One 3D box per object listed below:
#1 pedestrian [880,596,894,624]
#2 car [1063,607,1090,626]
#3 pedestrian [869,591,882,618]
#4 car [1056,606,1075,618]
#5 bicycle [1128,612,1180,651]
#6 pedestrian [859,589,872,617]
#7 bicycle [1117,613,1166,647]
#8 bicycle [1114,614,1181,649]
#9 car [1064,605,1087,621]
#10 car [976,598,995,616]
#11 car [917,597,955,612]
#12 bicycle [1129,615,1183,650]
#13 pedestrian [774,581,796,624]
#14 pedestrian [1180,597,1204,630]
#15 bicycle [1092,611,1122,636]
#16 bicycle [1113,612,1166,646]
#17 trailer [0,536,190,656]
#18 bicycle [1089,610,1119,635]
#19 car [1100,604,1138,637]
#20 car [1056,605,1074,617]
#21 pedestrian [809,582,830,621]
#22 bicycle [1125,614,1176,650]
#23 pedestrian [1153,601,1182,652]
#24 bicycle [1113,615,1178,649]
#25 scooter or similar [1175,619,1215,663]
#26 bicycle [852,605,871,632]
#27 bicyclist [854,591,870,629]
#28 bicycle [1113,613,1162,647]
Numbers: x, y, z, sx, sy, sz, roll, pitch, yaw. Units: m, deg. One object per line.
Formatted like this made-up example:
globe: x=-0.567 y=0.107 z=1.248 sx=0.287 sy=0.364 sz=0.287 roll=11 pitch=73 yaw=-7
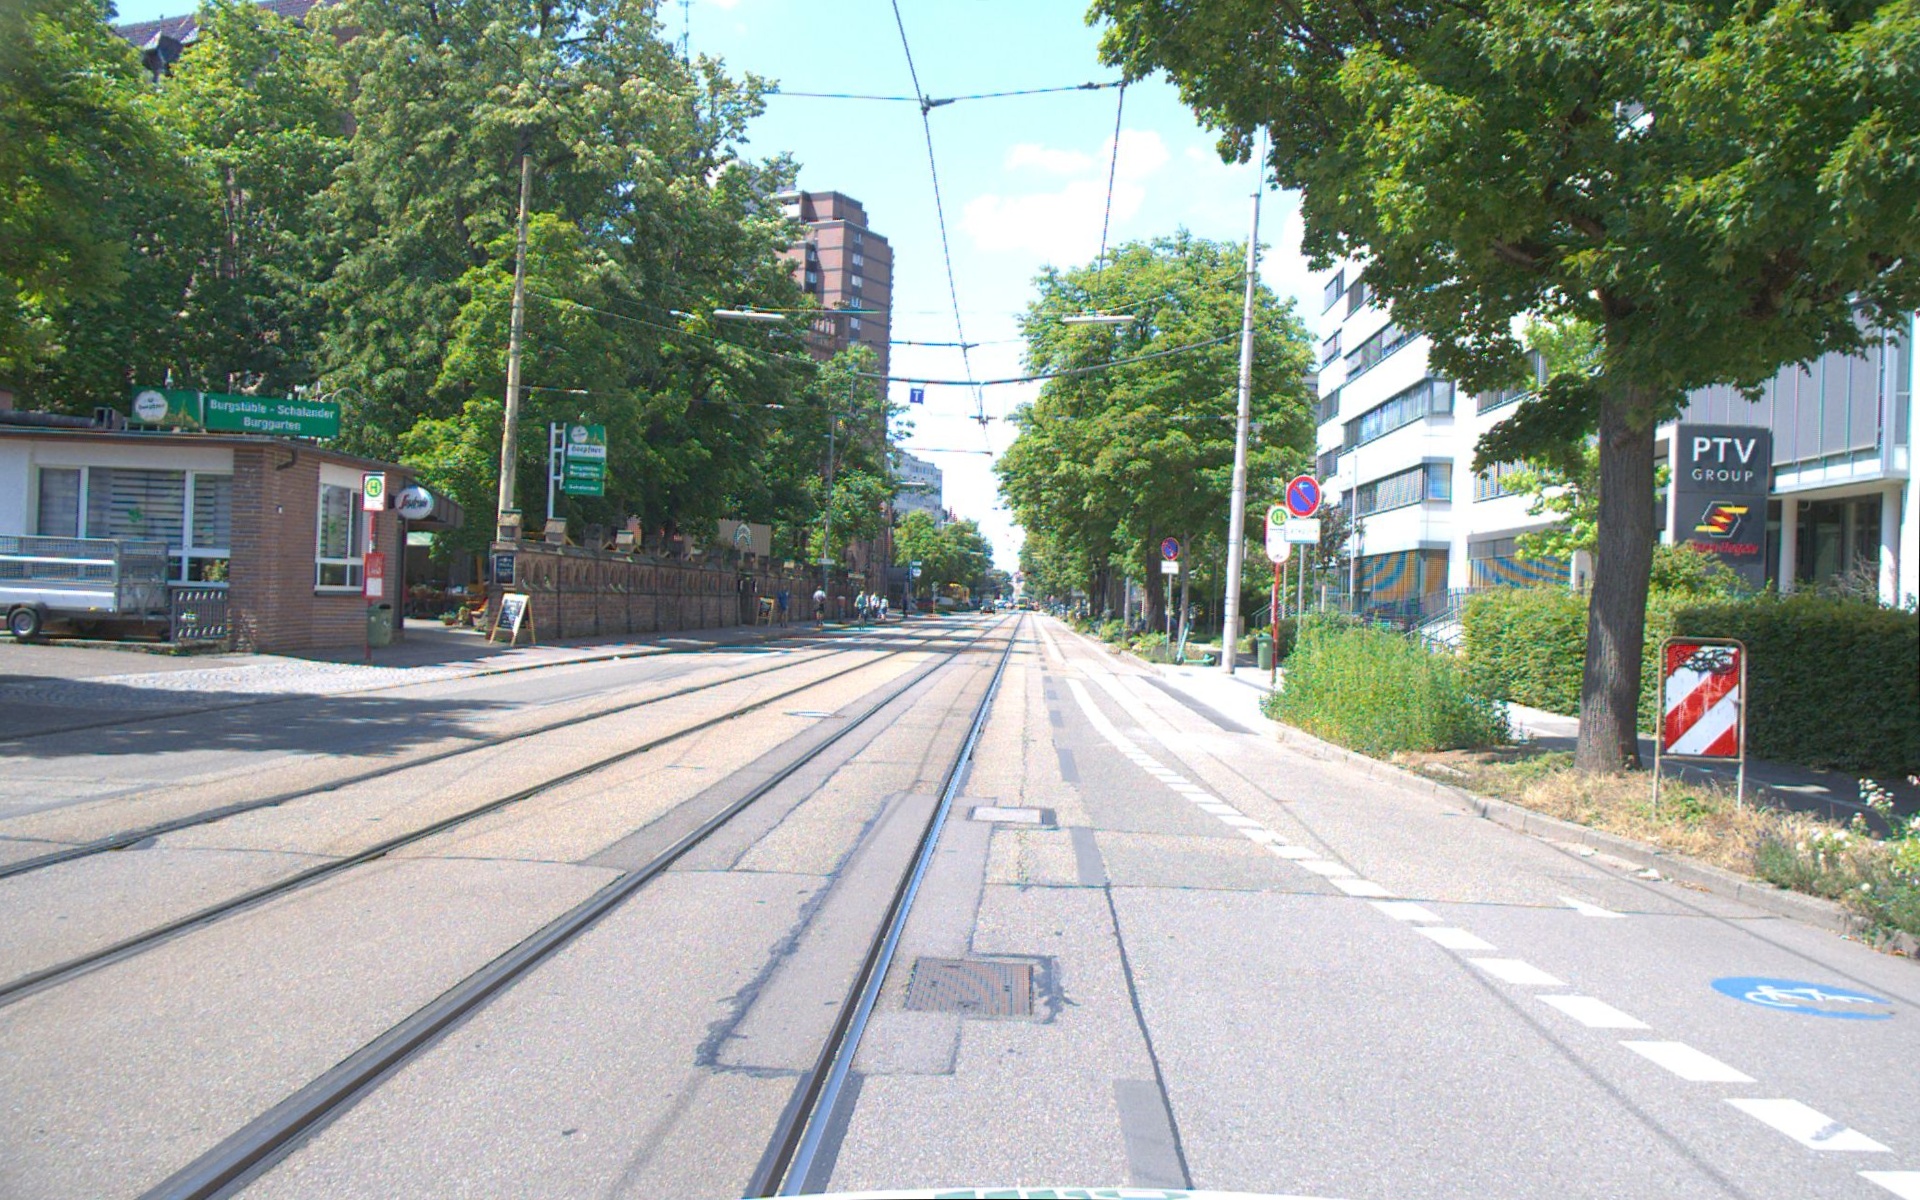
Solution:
pedestrian: x=-4.693 y=0.654 z=106.602 sx=0.728 sy=1.758 sz=0.867 roll=2 pitch=0 yaw=1
car: x=9.109 y=1.285 z=130.042 sx=1.952 sy=1.333 sz=4.001 roll=2 pitch=0 yaw=2
pedestrian: x=-5.485 y=0.301 z=107.314 sx=0.727 sy=1.758 sz=0.867 roll=2 pitch=0 yaw=2
car: x=11.642 y=1.314 z=182.378 sx=1.952 sy=1.333 sz=4.001 roll=2 pitch=0 yaw=2
bicycle: x=6.790 y=1.103 z=57.823 sx=1.716 sy=1.293 sz=0.530 roll=3 pitch=0 yaw=-1
pedestrian: x=-6.200 y=0.191 z=108.757 sx=0.727 sy=1.758 sz=0.867 roll=2 pitch=0 yaw=2
bicycle: x=6.782 y=1.132 z=61.904 sx=1.716 sy=1.186 sz=0.530 roll=3 pitch=0 yaw=-1
bicycle: x=7.095 y=1.185 z=62.605 sx=2.457 sy=1.231 sz=0.648 roll=2 pitch=0 yaw=7
car: x=10.521 y=1.189 z=151.421 sx=1.952 sy=1.333 sz=4.001 roll=2 pitch=0 yaw=2
car: x=3.170 y=0.802 z=201.607 sx=1.952 sy=2.048 sz=4.002 roll=3 pitch=0 yaw=5
car: x=-3.176 y=0.627 z=220.811 sx=4.669 sy=1.747 sz=1.984 roll=2 pitch=0 yaw=-25
bicycle: x=6.708 y=1.120 z=56.649 sx=1.751 sy=1.121 sz=0.532 roll=2 pitch=0 yaw=0
pedestrian: x=-7.347 y=0.117 z=69.391 sx=0.727 sy=1.758 sz=0.867 roll=2 pitch=0 yaw=2
pedestrian: x=13.495 y=0.786 z=96.239 sx=1.191 sy=1.859 sz=0.831 roll=2 pitch=0 yaw=-1
bicycle: x=7.720 y=1.219 z=87.022 sx=1.531 sy=1.263 sz=0.437 roll=2 pitch=0 yaw=4
bicycle: x=6.877 y=1.118 z=63.345 sx=1.955 sy=1.231 sz=0.662 roll=2 pitch=0 yaw=7
trailer: x=-13.961 y=-0.078 z=26.089 sx=2.771 sy=1.733 sz=1.622 roll=3 pitch=0 yaw=3
bicycle: x=7.630 y=1.211 z=87.609 sx=1.531 sy=1.263 sz=0.437 roll=2 pitch=0 yaw=4
car: x=7.718 y=0.976 z=80.613 sx=1.600 sy=1.527 sz=4.001 roll=2 pitch=0 yaw=2
car: x=12.394 y=1.309 z=195.080 sx=1.952 sy=1.333 sz=4.001 roll=2 pitch=0 yaw=2
pedestrian: x=-6.558 y=0.068 z=77.458 sx=0.798 sy=1.801 sz=0.925 roll=2 pitch=0 yaw=2
bicycle: x=6.728 y=1.118 z=58.420 sx=1.716 sy=1.186 sz=0.530 roll=3 pitch=0 yaw=-1
pedestrian: x=7.209 y=0.923 z=57.484 sx=0.792 sy=1.745 sz=0.574 roll=2 pitch=-1 yaw=-45
bicycle: x=7.265 y=1.262 z=64.734 sx=2.457 sy=1.231 sz=0.742 roll=2 pitch=0 yaw=7
scooter or similar: x=6.343 y=1.101 z=44.654 sx=1.036 sy=1.176 sz=0.371 roll=1 pitch=-1 yaw=3
bicycle: x=-4.551 y=0.843 z=76.657 sx=0.686 sy=1.225 sz=2.241 roll=0 pitch=0 yaw=2
bicyclist: x=-4.556 y=0.472 z=76.780 sx=0.628 sy=1.709 sz=0.815 roll=2 pitch=0 yaw=2
bicycle: x=6.586 y=1.119 z=61.409 sx=1.716 sy=1.186 sz=0.530 roll=3 pitch=0 yaw=-1
